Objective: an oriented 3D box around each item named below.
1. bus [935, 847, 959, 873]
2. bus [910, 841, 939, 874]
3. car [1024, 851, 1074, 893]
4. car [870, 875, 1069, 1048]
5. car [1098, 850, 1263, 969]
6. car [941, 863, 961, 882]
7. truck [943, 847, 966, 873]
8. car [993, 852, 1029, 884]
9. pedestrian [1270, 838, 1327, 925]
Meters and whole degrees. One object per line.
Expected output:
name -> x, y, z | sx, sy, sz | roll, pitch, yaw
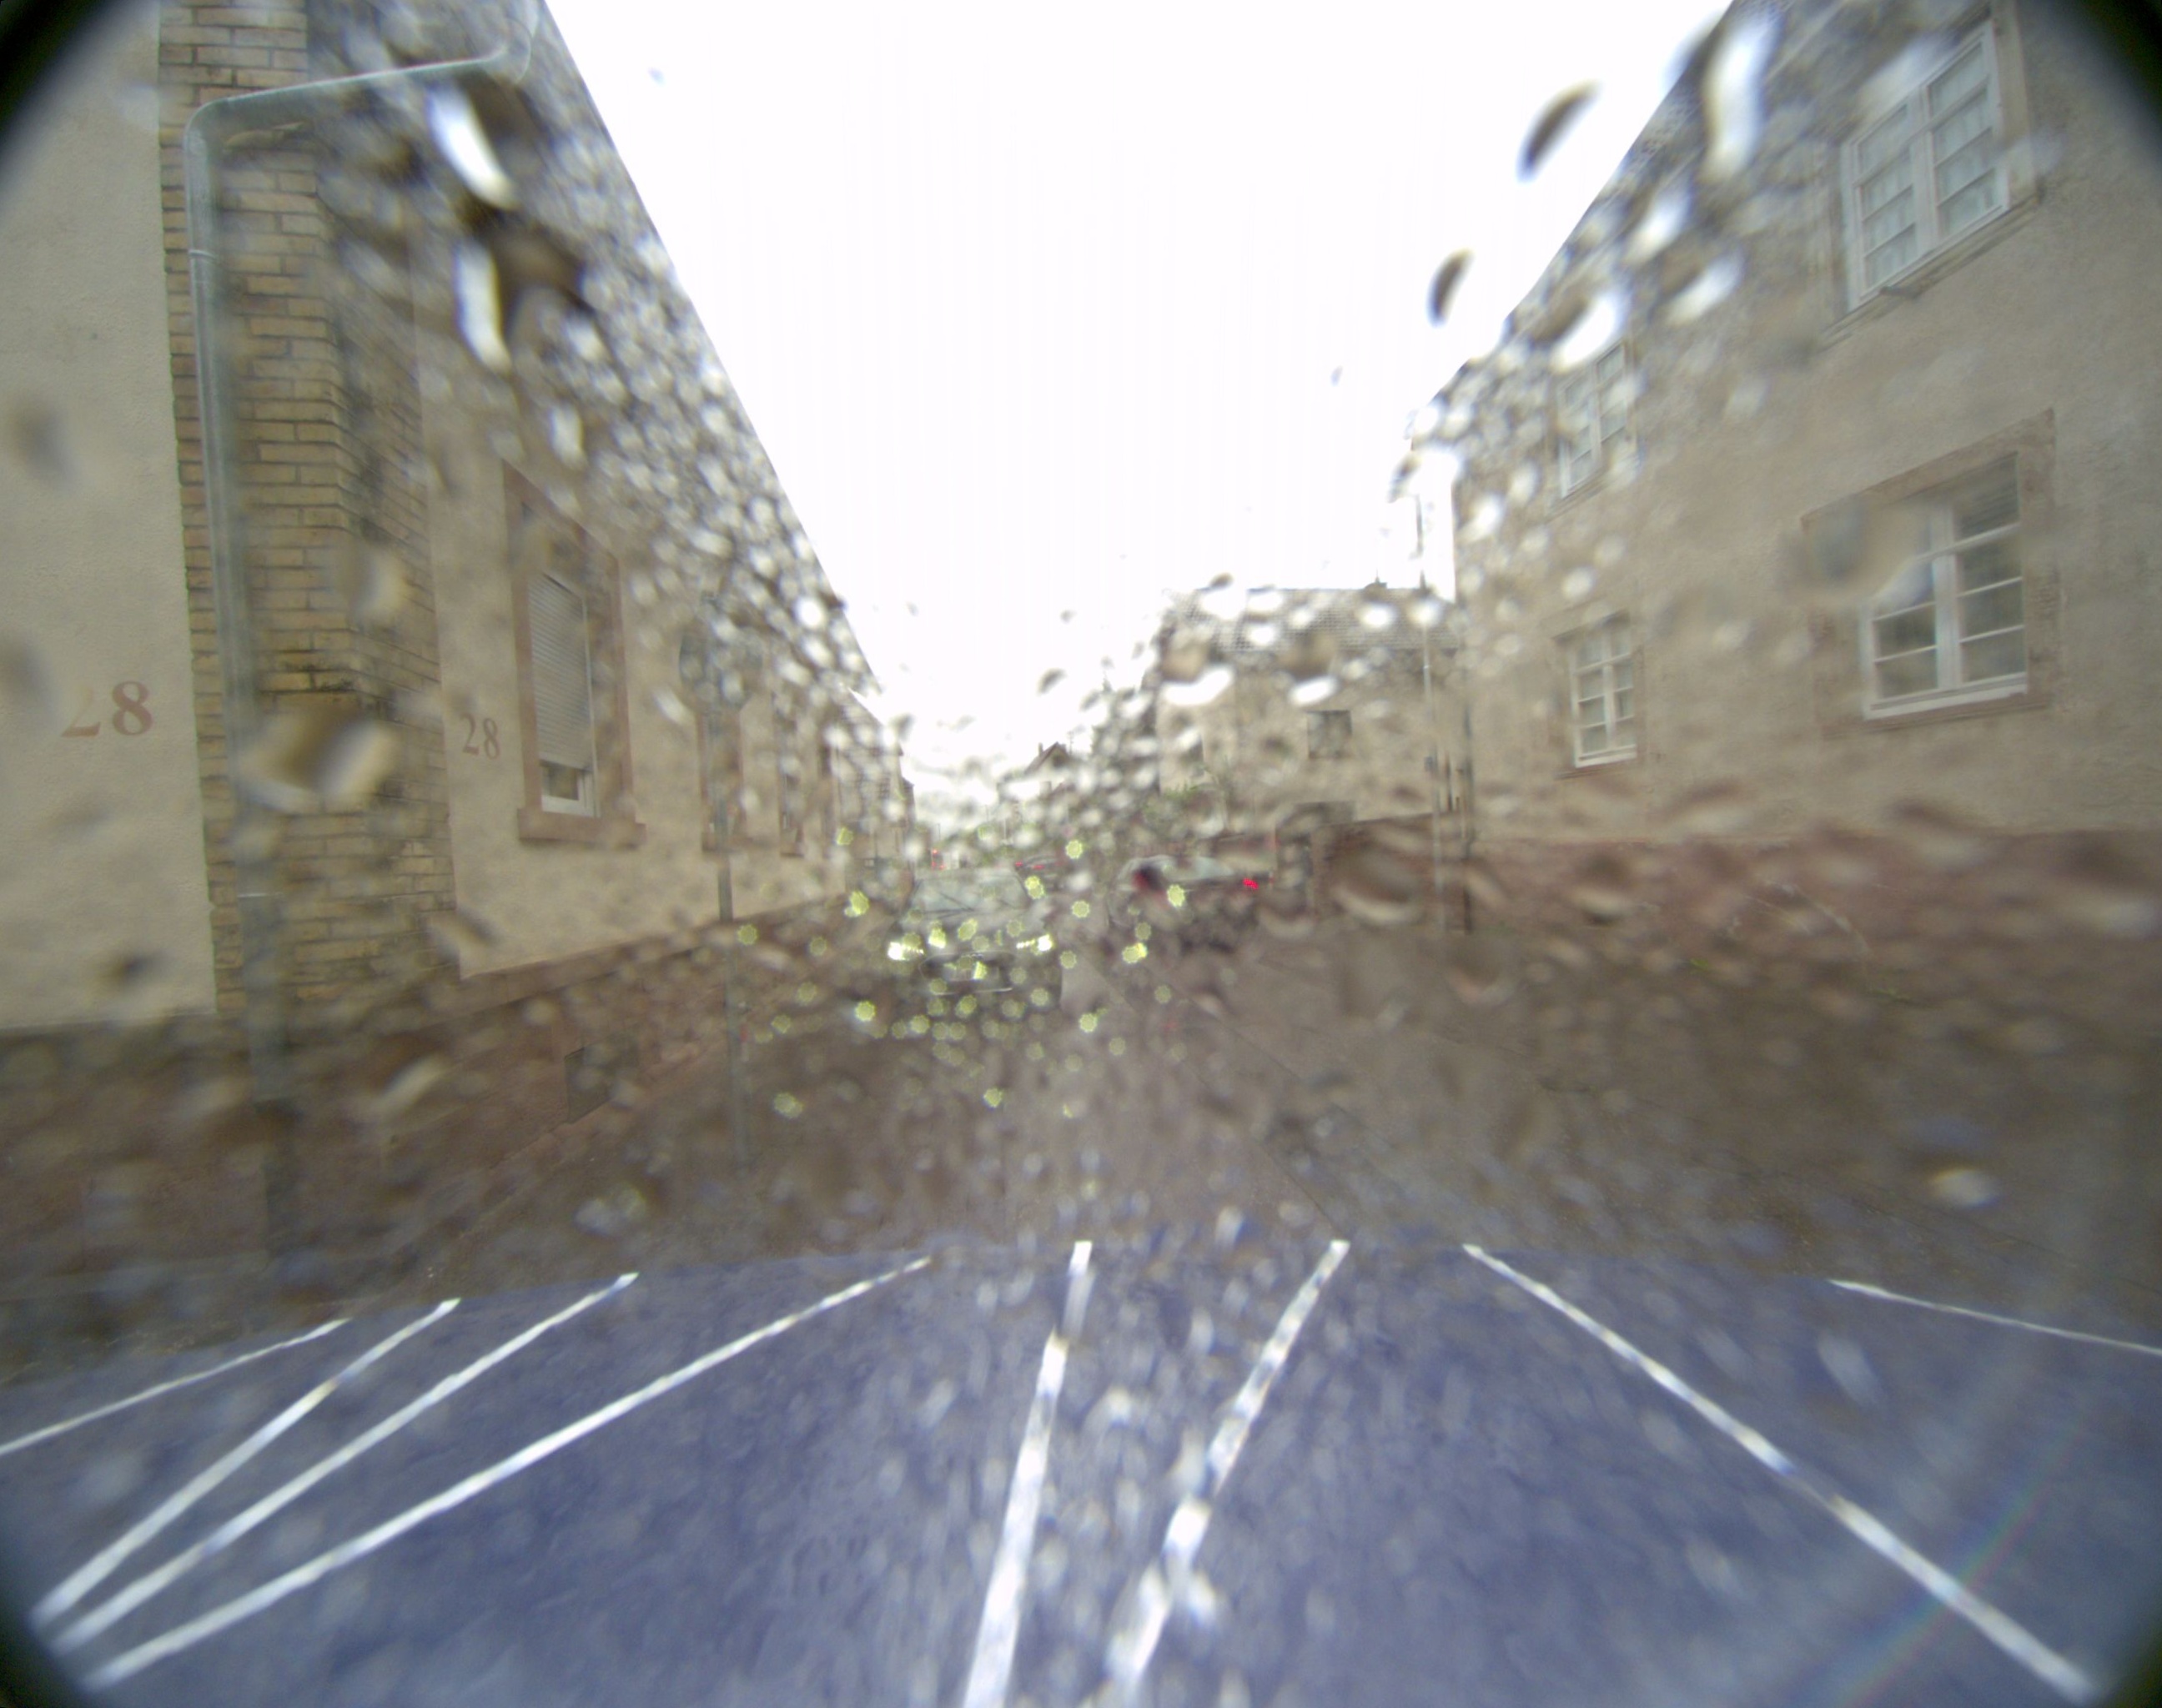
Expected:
bus -> -18.020, 0.758, 101.542 | 2.670, 3.213, 12.178 | -2, 1, -12
bus -> -16.870, 0.341, 81.789 | 2.670, 3.213, 12.178 | -2, 1, -12
car -> -1.433, 0.713, 32.598 | 1.627, 1.502, 3.790 | -6, 1, -8
car -> -1.323, 1.022, 8.976 | 1.740, 1.363, 4.098 | -2, 0, -9
car -> 1.425, 0.741, 12.566 | 1.701, 1.500, 4.338 | -3, 1, -6
car -> -15.589, 2.199, 91.003 | 2.001, 2.002, 3.995 | -2, 1, -13
truck -> -12.704, 0.582, 76.318 | 2.000, 2.490, 5.644 | -2, 1, -11
car -> -4.313, 0.827, 46.331 | 1.786, 1.655, 4.422 | -5, 2, -8
pedestrian -> 4.010, 0.493, 14.071 | 0.574, 1.529, 0.832 | -5, 1, -12
